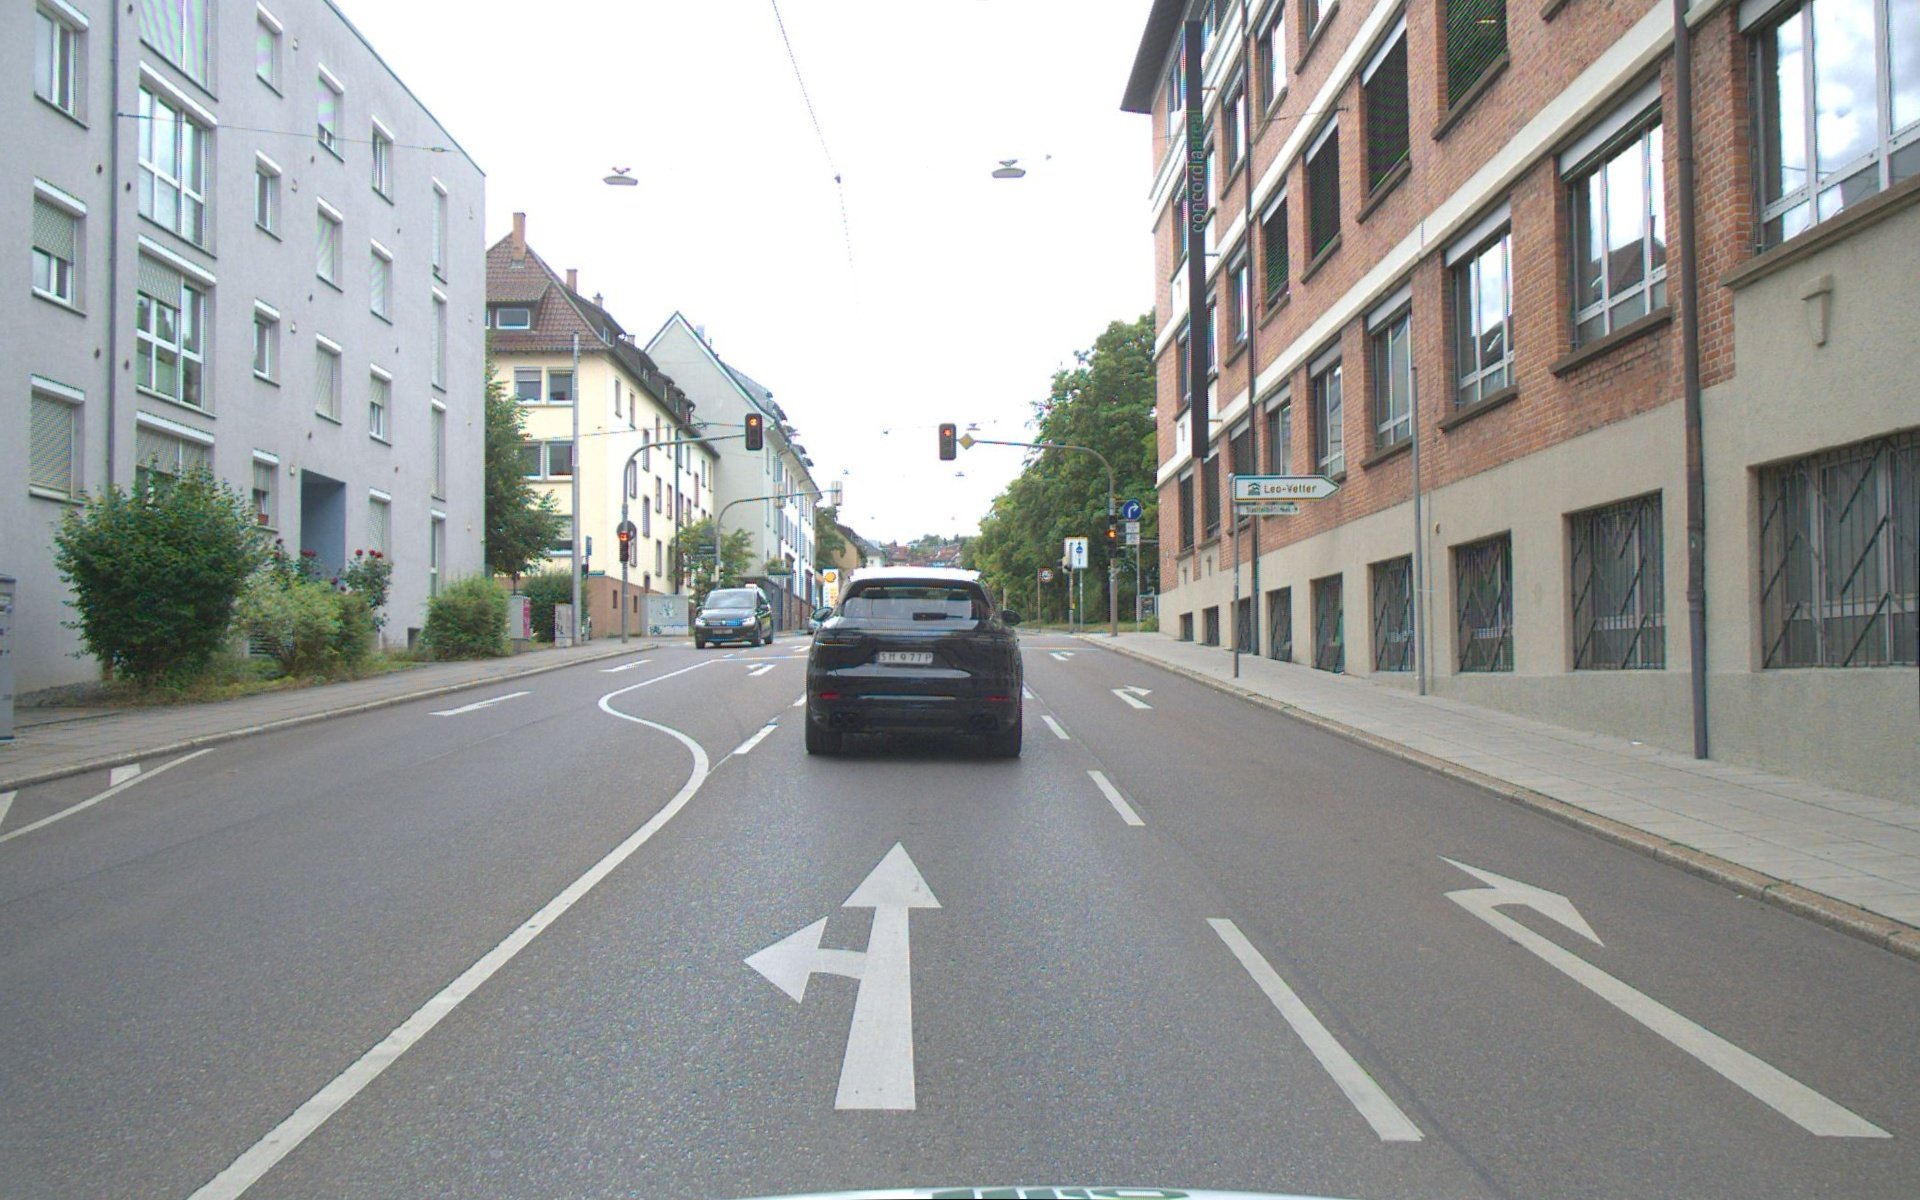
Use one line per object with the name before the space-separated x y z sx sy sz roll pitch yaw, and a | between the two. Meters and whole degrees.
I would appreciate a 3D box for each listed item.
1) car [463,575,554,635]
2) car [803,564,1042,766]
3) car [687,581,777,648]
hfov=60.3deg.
car | -14.138 0.144 51.946 1.808 1.721 3.998 -3 0 -2
car | -0.480 0.538 16.086 1.984 1.670 4.352 1 0 -5
car | -6.387 0.380 46.807 1.859 1.721 4.001 -3 0 1
